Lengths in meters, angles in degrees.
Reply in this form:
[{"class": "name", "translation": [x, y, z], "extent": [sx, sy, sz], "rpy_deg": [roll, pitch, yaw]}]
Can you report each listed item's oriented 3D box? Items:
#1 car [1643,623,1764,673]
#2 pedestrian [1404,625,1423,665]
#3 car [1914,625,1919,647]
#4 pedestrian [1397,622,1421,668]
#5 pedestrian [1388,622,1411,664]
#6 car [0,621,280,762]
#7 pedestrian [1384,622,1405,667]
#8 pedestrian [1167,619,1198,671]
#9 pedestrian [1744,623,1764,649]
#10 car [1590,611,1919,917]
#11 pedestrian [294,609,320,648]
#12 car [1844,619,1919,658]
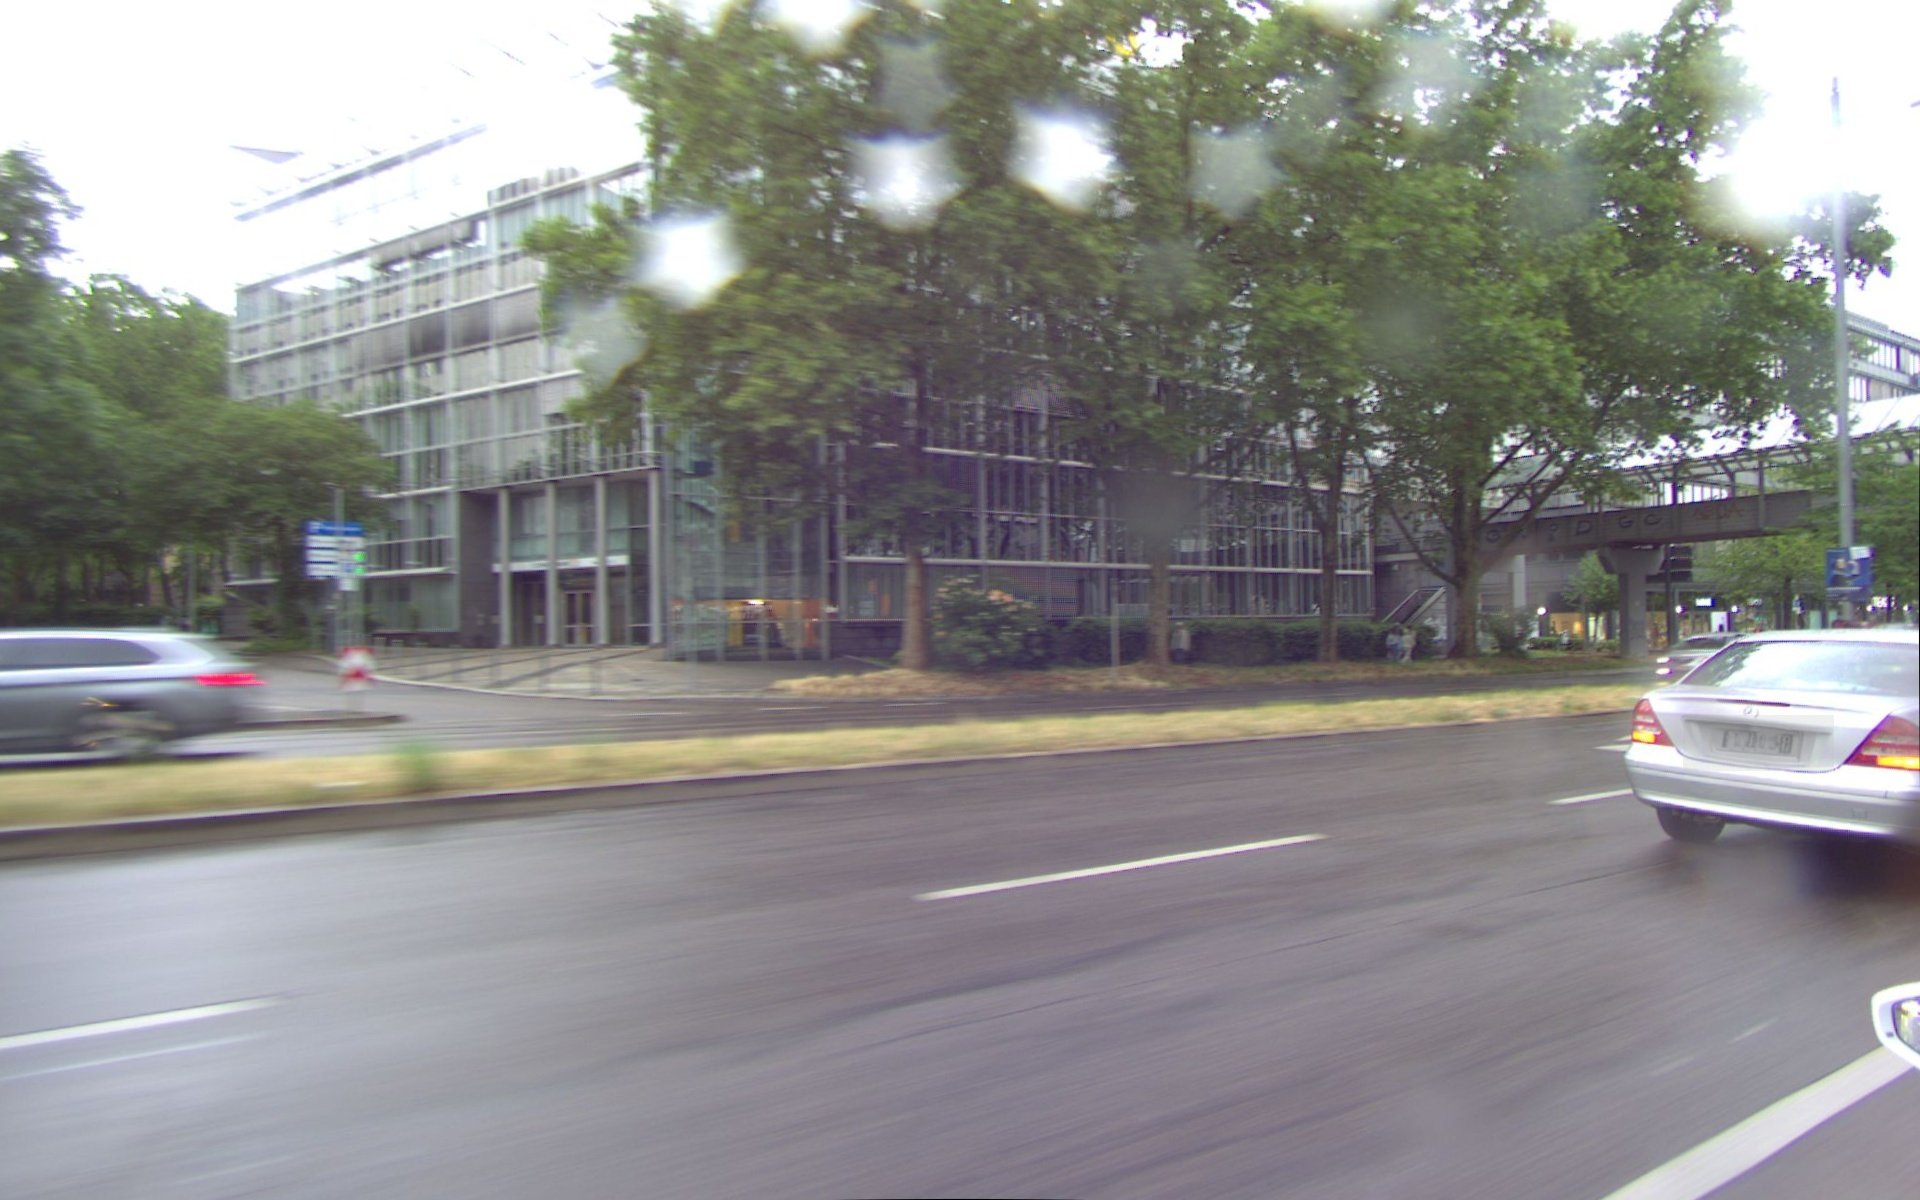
[{"class": "car", "translation": [23.279, 1.503, 31.421], "extent": [4.036, 1.483, 1.653], "rpy_deg": [1, -4, -32]}, {"class": "pedestrian", "translation": [19.488, 1.935, 43.163], "extent": [0.505, 1.708, 0.557], "rpy_deg": [0, -1, -30]}, {"class": "car", "translation": [64.448, 2.402, 65.968], "extent": [4.397, 1.451, 1.614], "rpy_deg": [2, -2, -33]}, {"class": "pedestrian", "translation": [18.390, 1.837, 41.147], "extent": [0.751, 1.832, 0.593], "rpy_deg": [0, -1, -30]}, {"class": "pedestrian", "translation": [19.130, 1.858, 43.738], "extent": [0.610, 1.832, 0.719], "rpy_deg": [0, -1, -30]}, {"class": "car", "translation": [-10.412, 0.963, 11.047], "extent": [4.704, 1.457, 1.683], "rpy_deg": [2, -2, -31]}, {"class": "pedestrian", "translation": [18.026, 1.833, 41.655], "extent": [0.505, 1.832, 0.602], "rpy_deg": [0, -1, -30]}, {"class": "pedestrian", "translation": [7.998, 1.616, 36.064], "extent": [0.793, 1.832, 0.731], "rpy_deg": [0, -1, -30]}, {"class": "pedestrian", "translation": [53.644, 2.400, 67.883], "extent": [1.045, 1.738, 0.739], "rpy_deg": [1, -1, -31]}, {"class": "car", "translation": [6.247, 0.877, 6.694], "extent": [4.309, 1.498, 1.664], "rpy_deg": [2, -1, -30]}, {"class": "pedestrian", "translation": [-27.709, 1.207, 42.630], "extent": [0.647, 1.652, 0.740], "rpy_deg": [-1, 0, 38]}, {"class": "car", "translation": [46.102, 1.904, 49.829], "extent": [5.129, 1.791, 1.990], "rpy_deg": [1, -5, -33]}]
